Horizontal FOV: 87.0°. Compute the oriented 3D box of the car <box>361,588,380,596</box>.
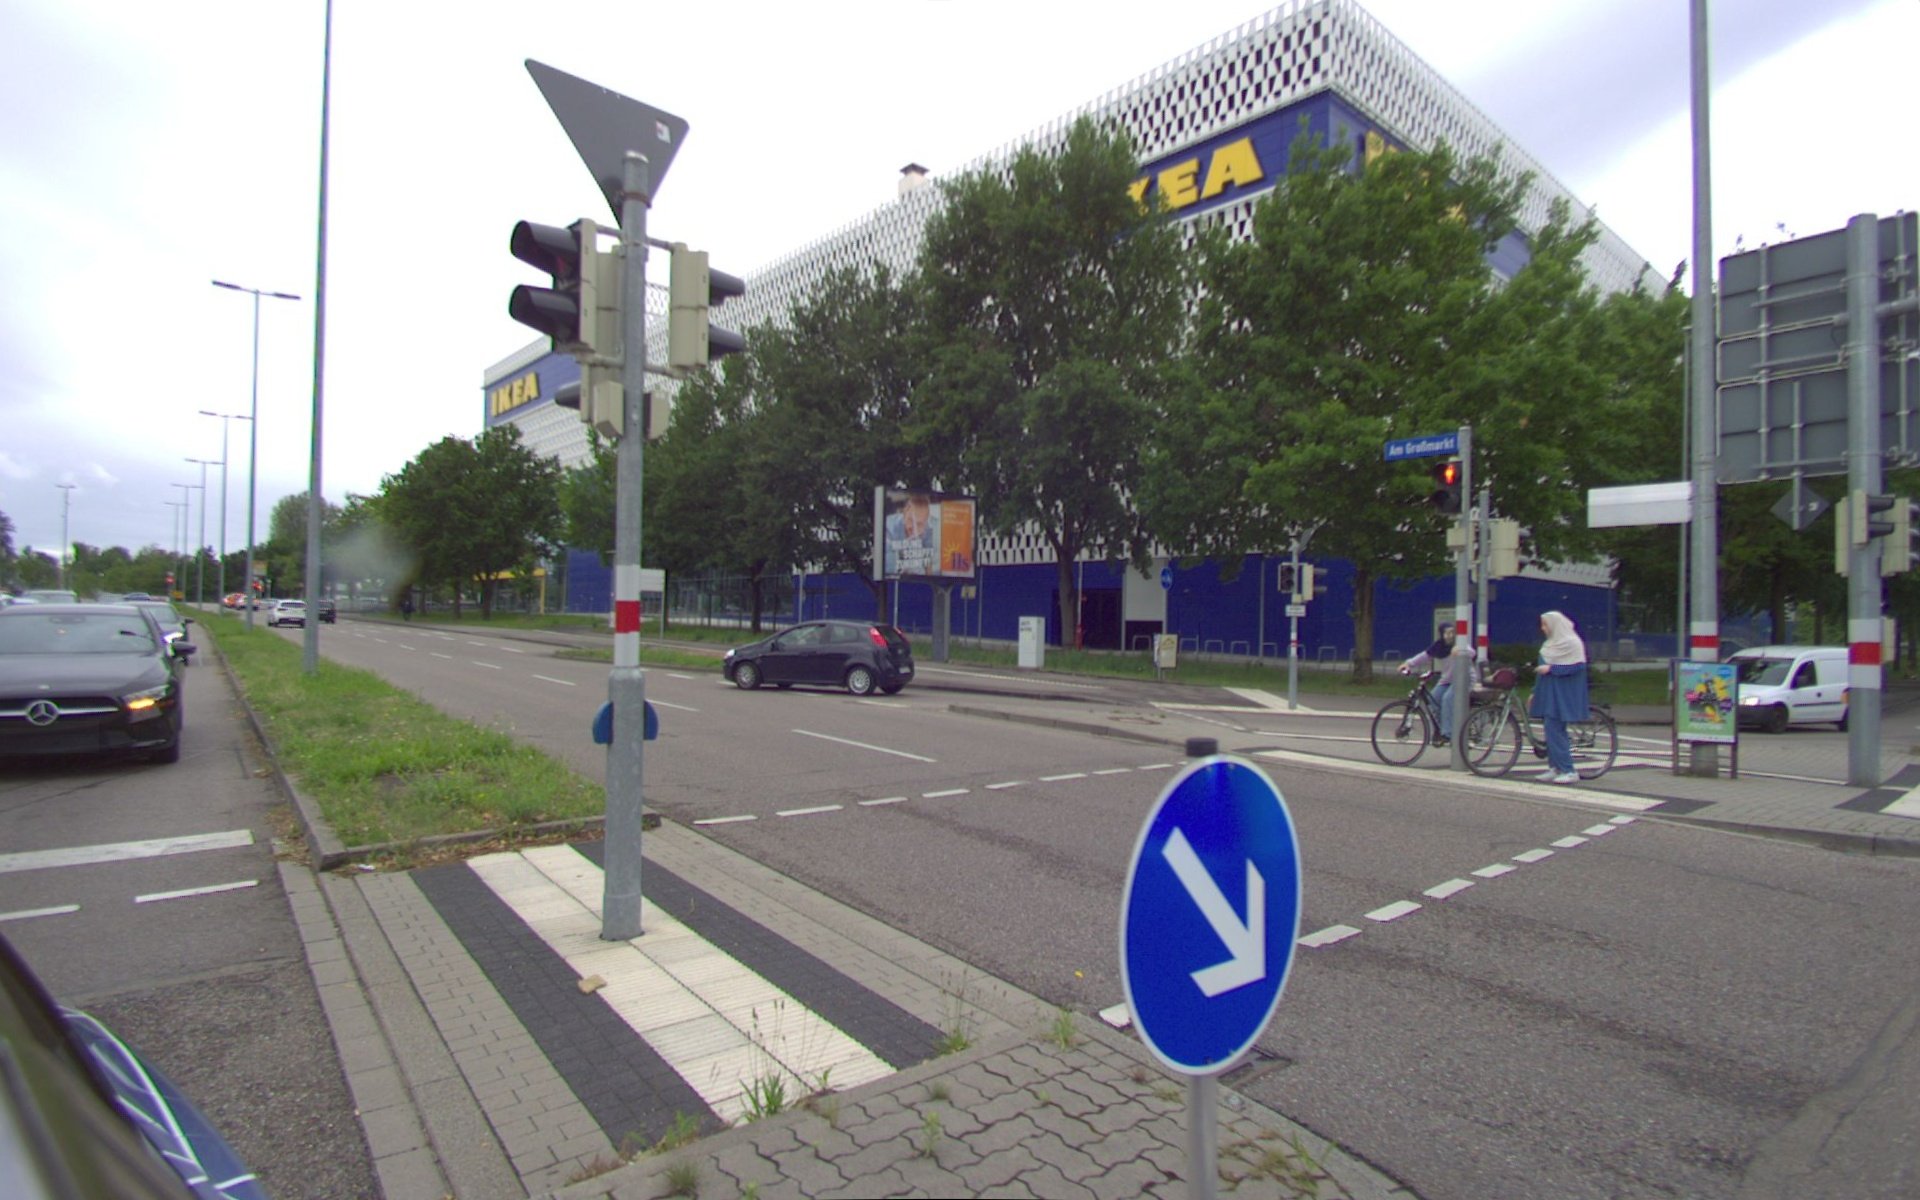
[{"bbox_3d":[-132.383,-1.803,227.242,3.512,1.652,1.746,0,1,-42],"label":"car"}]

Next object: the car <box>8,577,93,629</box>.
[{"bbox_3d":[-29.686,0.066,33.142,1.773,1.586,4.228,0,1,-38],"label":"car"}]

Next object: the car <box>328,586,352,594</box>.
[{"bbox_3d":[-136.674,-2.166,223.043,4.226,1.837,1.746,0,1,-42],"label":"car"}]

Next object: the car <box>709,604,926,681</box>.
[{"bbox_3d":[-2.837,0.830,20.359,3.966,1.382,1.717,1,-2,18],"label":"car"}]

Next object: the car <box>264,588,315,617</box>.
[{"bbox_3d":[-36.165,0.115,54.525,1.759,1.463,3.939,3,-2,-40],"label":"car"}]

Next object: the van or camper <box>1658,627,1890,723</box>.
[{"bbox_3d":[16.749,1.536,20.813,4.318,1.735,2.006,4,-3,-25],"label":"van or camper"}]

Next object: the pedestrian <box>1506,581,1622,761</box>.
[{"bbox_3d":[5.788,0.671,9.725,0.681,1.639,0.642,3,-2,-7],"label":"pedestrian"}]

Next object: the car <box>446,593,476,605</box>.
[{"bbox_3d":[-81.763,-0.192,165.844,2.001,1.829,3.942,1,1,44],"label":"car"}]

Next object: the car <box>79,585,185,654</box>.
[{"bbox_3d":[-18.765,0.375,23.062,1.740,1.389,4.268,0,1,-38],"label":"car"}]

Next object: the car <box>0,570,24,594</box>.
[{"bbox_3d":[-97.158,-1.813,103.457,1.969,2.259,4.006,2,-2,-41],"label":"car"}]

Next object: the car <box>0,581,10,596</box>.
[{"bbox_3d":[-138.835,-1.667,144.364,1.999,2.029,4.607,1,1,41],"label":"car"}]

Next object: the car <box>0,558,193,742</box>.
[{"bbox_3d":[-8.578,0.400,9.773,1.830,1.445,4.205,0,0,-38],"label":"car"}]

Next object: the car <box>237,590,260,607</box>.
[{"bbox_3d":[-78.917,-0.188,112.231,1.819,1.900,3.932,0,1,-40],"label":"car"}]

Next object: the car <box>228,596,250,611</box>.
[{"bbox_3d":[-87.226,0.398,122.433,1.819,1.732,3.932,0,1,-40],"label":"car"}]

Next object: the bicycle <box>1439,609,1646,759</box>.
[{"bbox_3d":[5.783,0.837,10.057,1.901,1.407,0.598,2,-3,-14],"label":"bicycle"}]

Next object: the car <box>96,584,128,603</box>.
[{"bbox_3d":[-67.462,-0.517,80.584,1.773,1.426,4.228,0,1,-38],"label":"car"}]

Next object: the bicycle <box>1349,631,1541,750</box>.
[{"bbox_3d":[5.172,0.966,10.798,1.914,1.174,0.510,3,0,-15],"label":"bicycle"}]

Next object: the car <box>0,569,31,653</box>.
[{"bbox_3d":[-20.692,0.179,20.928,1.771,1.637,4.384,0,1,-37],"label":"car"}]

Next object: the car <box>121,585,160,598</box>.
[{"bbox_3d":[-124.532,-1.309,153.750,4.598,2.029,2.003,0,1,-40],"label":"car"}]

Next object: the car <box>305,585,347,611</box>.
[{"bbox_3d":[-45.106,-0.148,71.964,1.819,1.668,4.368,5,-2,-40],"label":"car"}]

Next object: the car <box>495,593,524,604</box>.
[{"bbox_3d":[-76.284,-0.235,171.450,2.001,1.829,3.942,1,1,44],"label":"car"}]

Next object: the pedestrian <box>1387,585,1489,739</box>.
[{"bbox_3d":[5.074,0.642,10.770,0.639,1.560,0.656,3,1,-15],"label":"pedestrian"}]

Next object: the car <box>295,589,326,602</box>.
[{"bbox_3d":[-105.006,-0.777,163.688,3.937,2.029,2.003,0,1,-40],"label":"car"}]

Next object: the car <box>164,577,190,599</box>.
[{"bbox_3d":[-85.418,-1.308,110.333,1.969,2.236,4.006,2,-2,-41],"label":"car"}]

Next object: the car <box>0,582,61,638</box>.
[{"bbox_3d":[-25.697,0.222,27.361,1.773,1.426,4.228,0,1,-38],"label":"car"}]
